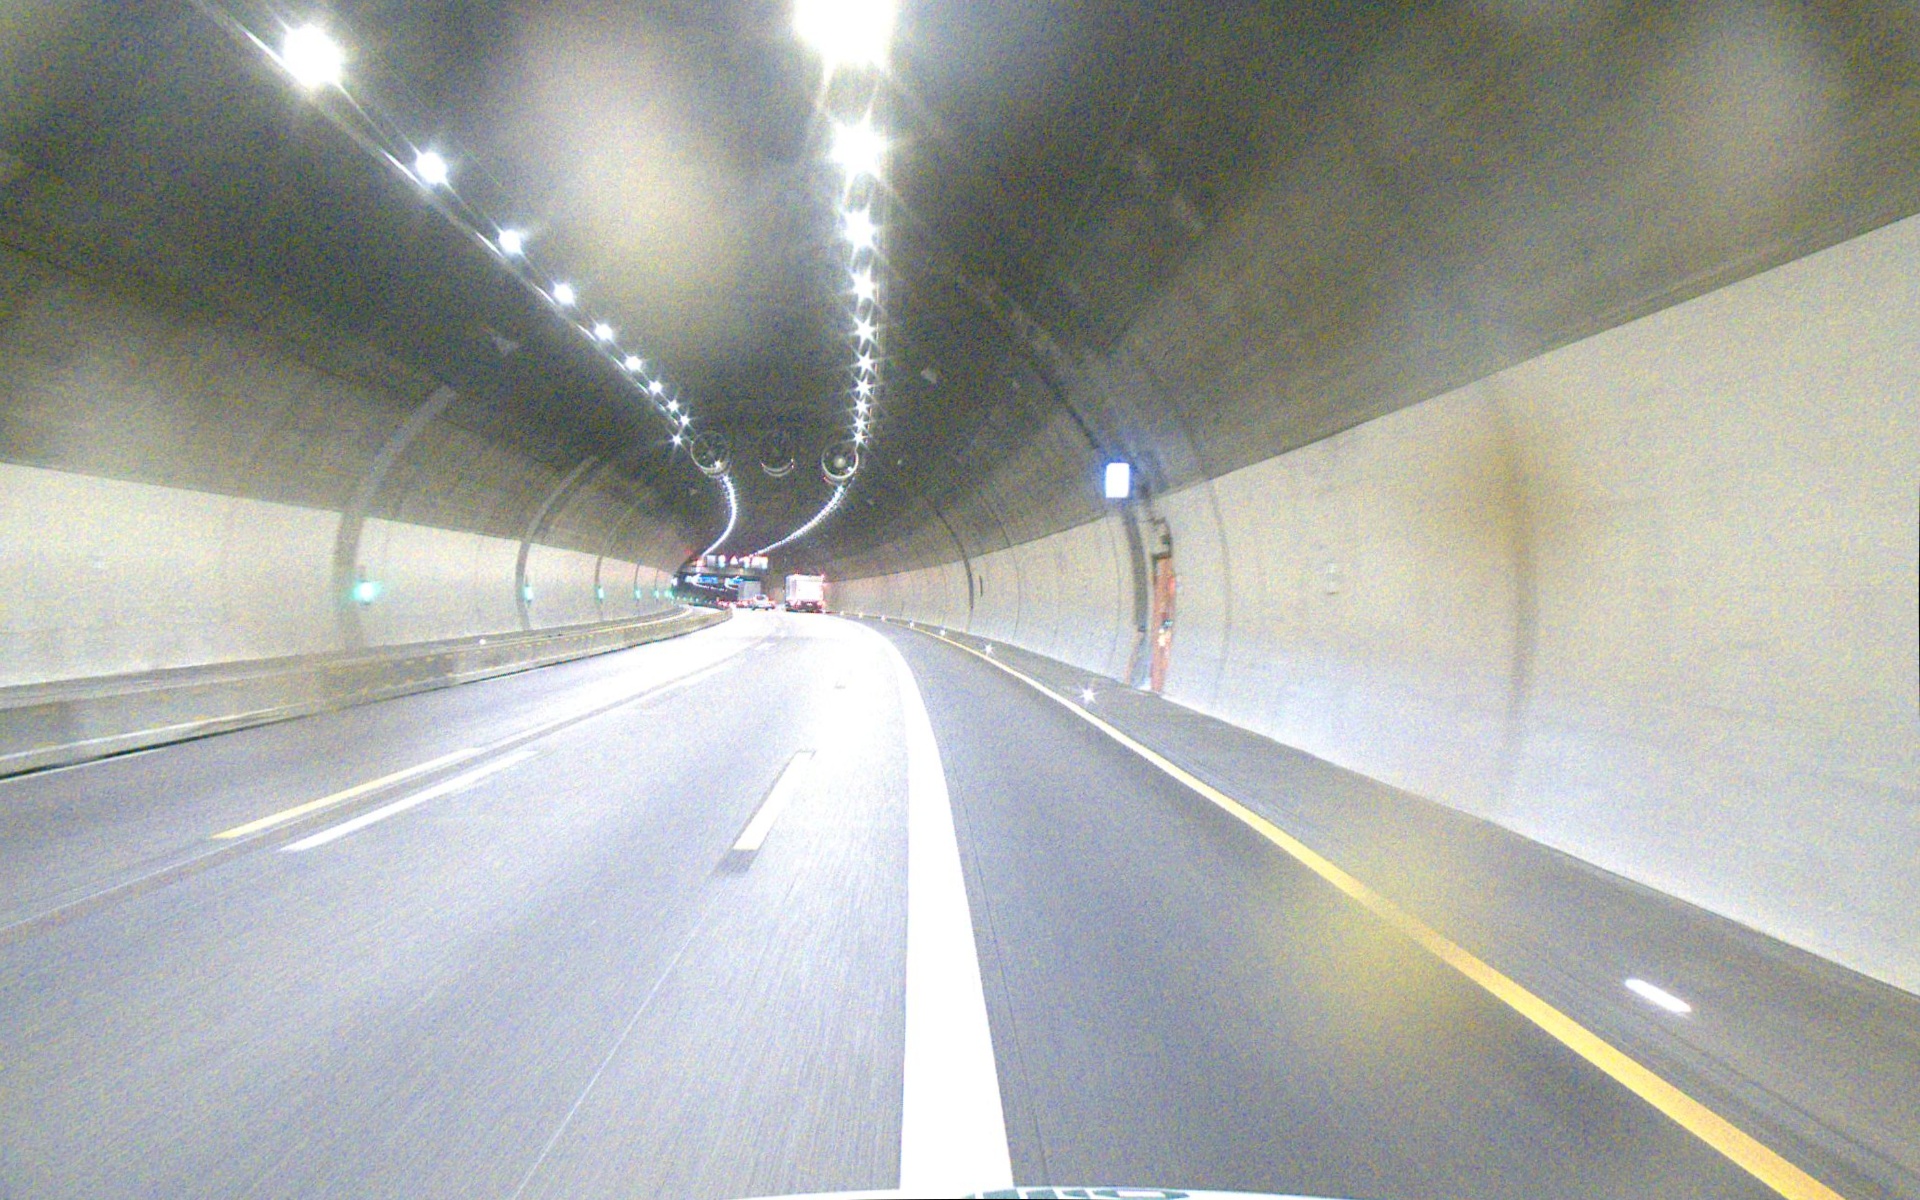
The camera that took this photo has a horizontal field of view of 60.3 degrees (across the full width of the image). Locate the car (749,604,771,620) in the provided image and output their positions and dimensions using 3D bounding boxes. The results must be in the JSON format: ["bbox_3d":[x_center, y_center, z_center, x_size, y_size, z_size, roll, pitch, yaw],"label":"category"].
[{"bbox_3d":[-21.265,1.222,175.567,1.958,1.609,3.989,2,0,-11],"label":"car"}]

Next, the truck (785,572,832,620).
[{"bbox_3d":[-14.542,-0.413,157.908,3.412,4.392,10.923,1,0,-11],"label":"truck"}]

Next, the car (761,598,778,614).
[{"bbox_3d":[-24.905,0.753,215.914,1.957,2.049,3.992,1,0,-9],"label":"car"}]

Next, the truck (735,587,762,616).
[{"bbox_3d":[-32.658,0.296,254.853,3.411,4.392,10.923,0,0,-11],"label":"truck"}]
